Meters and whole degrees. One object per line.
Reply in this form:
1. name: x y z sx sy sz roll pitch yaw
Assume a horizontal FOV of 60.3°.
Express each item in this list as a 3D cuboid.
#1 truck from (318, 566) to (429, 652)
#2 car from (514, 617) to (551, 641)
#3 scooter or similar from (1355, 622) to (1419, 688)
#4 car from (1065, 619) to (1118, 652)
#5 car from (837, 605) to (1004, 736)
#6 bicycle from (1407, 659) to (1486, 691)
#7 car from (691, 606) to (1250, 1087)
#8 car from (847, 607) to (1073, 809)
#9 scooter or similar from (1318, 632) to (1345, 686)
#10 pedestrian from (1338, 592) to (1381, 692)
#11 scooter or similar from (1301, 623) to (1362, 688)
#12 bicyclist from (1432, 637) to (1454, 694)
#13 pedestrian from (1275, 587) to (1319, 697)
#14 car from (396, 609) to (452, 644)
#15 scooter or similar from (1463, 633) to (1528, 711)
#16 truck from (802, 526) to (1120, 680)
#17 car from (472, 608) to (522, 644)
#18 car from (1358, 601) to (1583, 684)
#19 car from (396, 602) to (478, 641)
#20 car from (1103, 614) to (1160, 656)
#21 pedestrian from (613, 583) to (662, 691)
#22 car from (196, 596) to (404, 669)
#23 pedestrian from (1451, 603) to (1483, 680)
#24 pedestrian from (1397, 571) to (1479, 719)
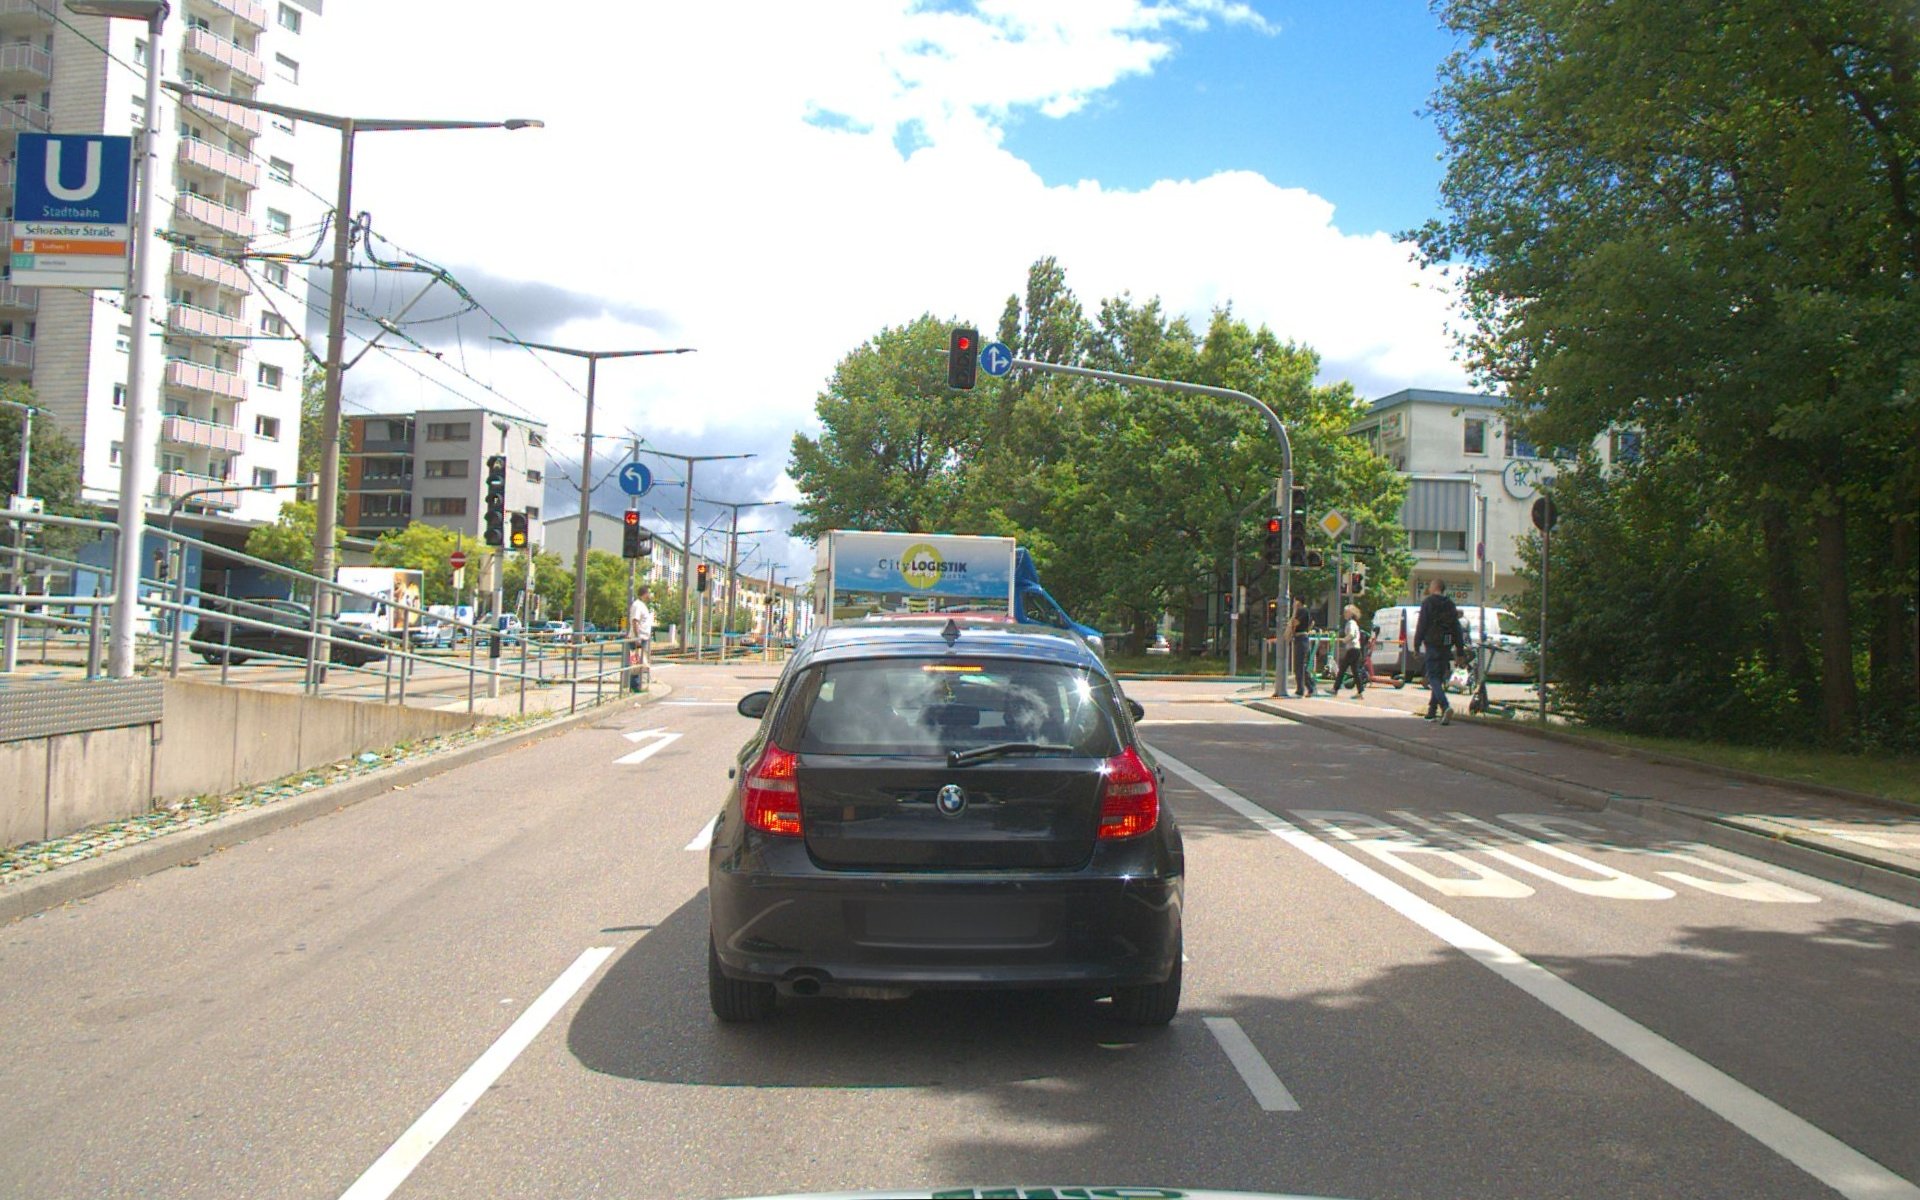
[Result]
1. truck: -23.095 0.364 65.519 2.237 3.172 7.311 2 -1 -5
2. car: -28.807 1.944 111.443 1.559 1.500 3.773 2 -1 -2
3. scooter or similar: 8.781 1.131 34.046 1.127 1.294 0.555 2 -1 1
4. car: 7.176 1.943 90.754 1.830 1.691 3.988 2 -1 -12
5. car: -0.480 0.814 21.074 1.862 1.447 4.538 1 0 -1
6. bicycle: 10.238 1.573 34.805 1.552 0.620 0.534 -2 -1 20
7. car: 0.012 0.756 6.709 1.666 1.424 3.419 1 0 -1
8. car: -0.023 0.788 13.612 1.605 1.424 3.419 1 0 -1
9. scooter or similar: 7.869 1.237 34.992 0.536 1.082 1.263 1 0 13
10. pedestrian: 7.326 0.763 30.355 0.623 1.797 0.518 1 -1 -4
11. scooter or similar: 7.449 1.108 33.181 1.087 1.257 0.539 1 -1 1
12. bicyclist: 10.166 1.375 34.809 0.390 1.177 0.503 0 -1 20
13. pedestrian: 5.895 0.732 28.950 0.623 1.909 0.518 1 -1 -4
14. car: -23.783 1.180 73.449 1.379 1.486 3.772 2 -1 -3
15. scooter or similar: 9.288 1.245 28.687 0.872 1.251 0.454 6 -1 -1
16. truck: -0.029 0.103 39.210 7.140 3.407 2.600 1 -1 -12
17. car: -24.066 1.346 86.074 1.559 1.787 3.773 2 -1 -2
18. car: 12.812 1.057 41.606 5.078 1.926 1.994 1 -1 -12
19. car: -28.047 1.143 88.782 3.893 2.009 1.630 2 -1 -43
20. car: 8.247 1.671 79.880 1.694 1.904 3.991 2 -1 -9
21. pedestrian: -5.354 0.605 27.462 0.673 1.764 0.687 1 -1 -3
22. car: -14.408 0.707 36.327 3.916 1.512 1.842 1 0 -12
23. pedestrian: 11.538 0.936 37.620 0.643 1.743 0.462 1 -1 21
24. pedestrian: 6.340 0.589 21.965 0.779 1.909 1.013 1 -1 0
